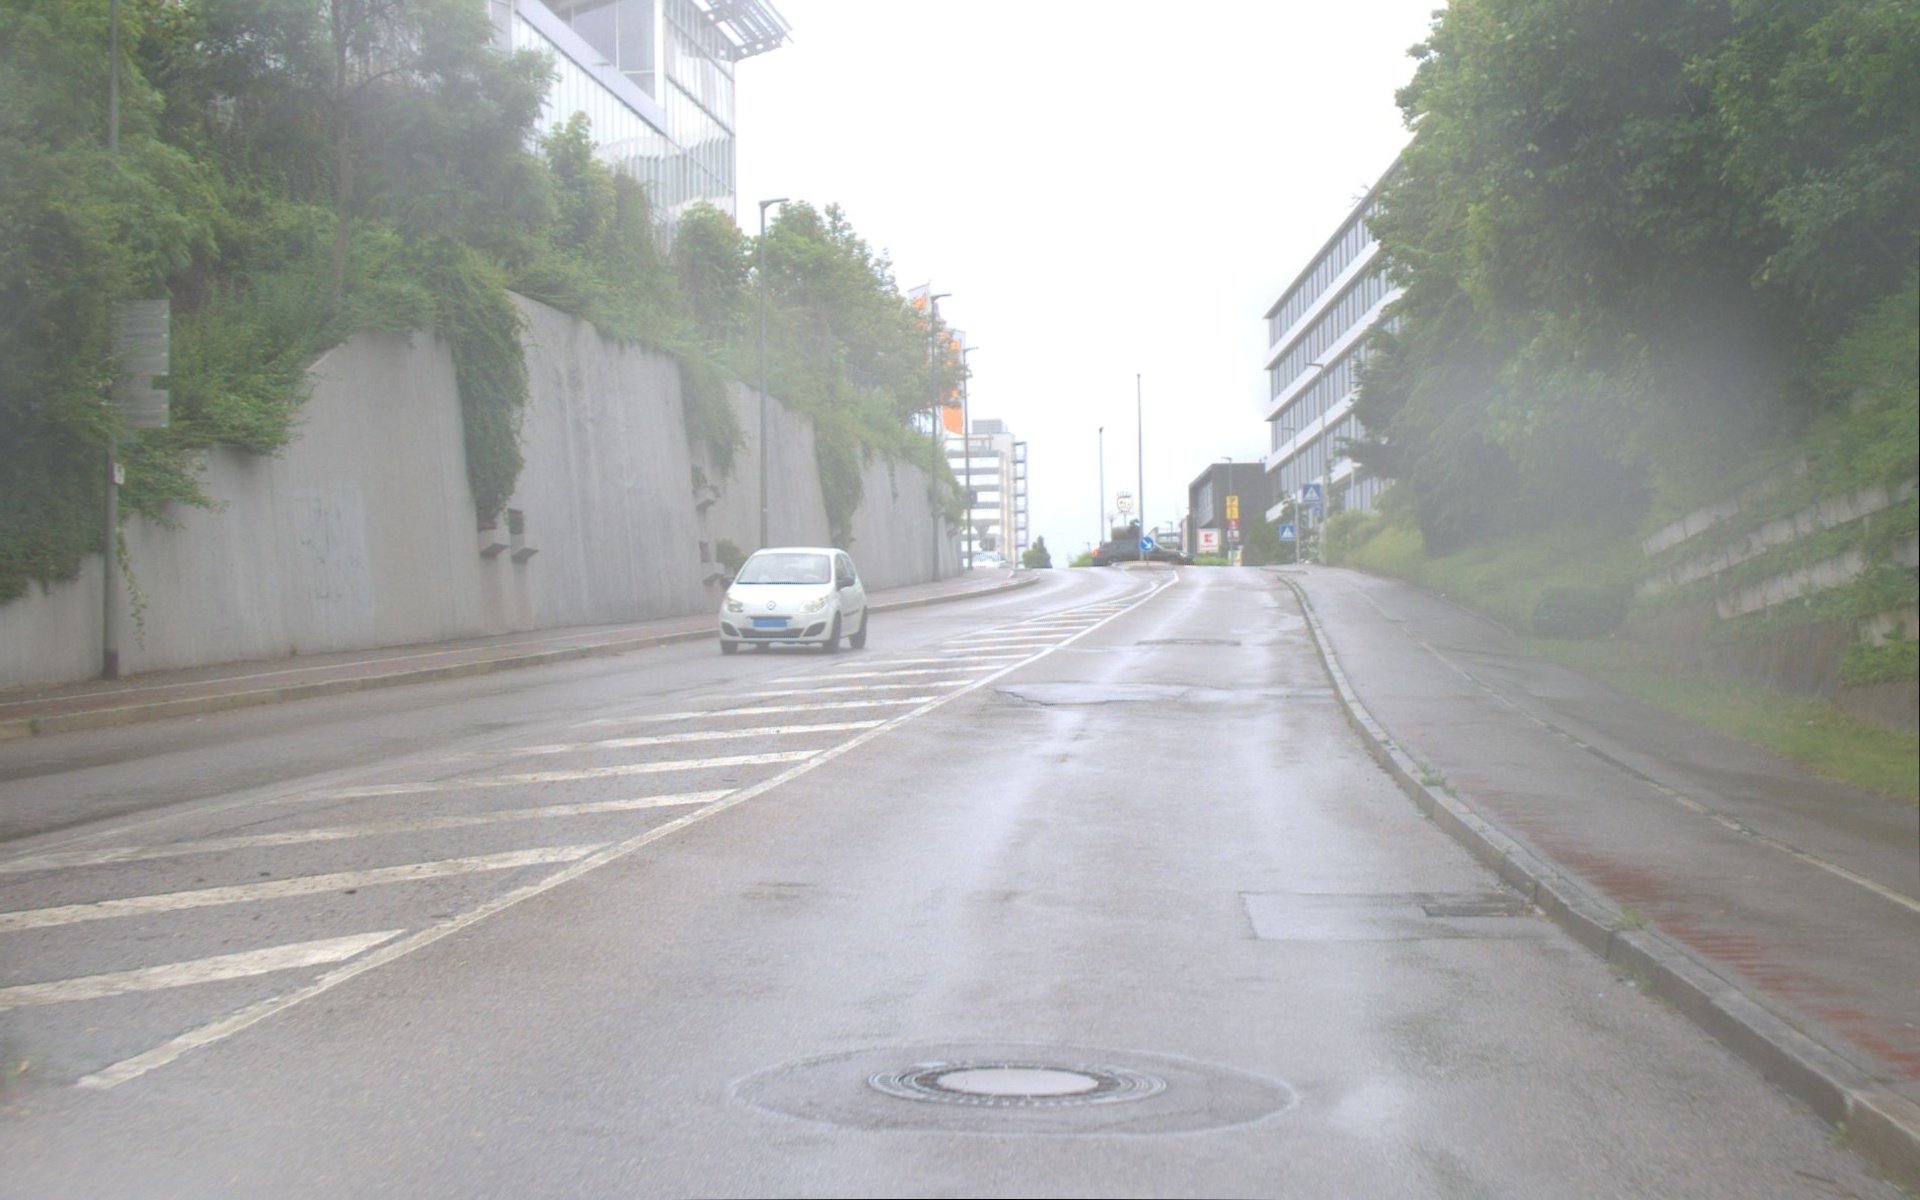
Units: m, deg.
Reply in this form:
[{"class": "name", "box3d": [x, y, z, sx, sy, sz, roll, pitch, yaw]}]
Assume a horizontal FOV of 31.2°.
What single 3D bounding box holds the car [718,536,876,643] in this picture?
[{"class": "car", "box3d": [-2.272, -0.126, 48.651, 1.513, 1.443, 3.815, 0, -1, 8]}]
